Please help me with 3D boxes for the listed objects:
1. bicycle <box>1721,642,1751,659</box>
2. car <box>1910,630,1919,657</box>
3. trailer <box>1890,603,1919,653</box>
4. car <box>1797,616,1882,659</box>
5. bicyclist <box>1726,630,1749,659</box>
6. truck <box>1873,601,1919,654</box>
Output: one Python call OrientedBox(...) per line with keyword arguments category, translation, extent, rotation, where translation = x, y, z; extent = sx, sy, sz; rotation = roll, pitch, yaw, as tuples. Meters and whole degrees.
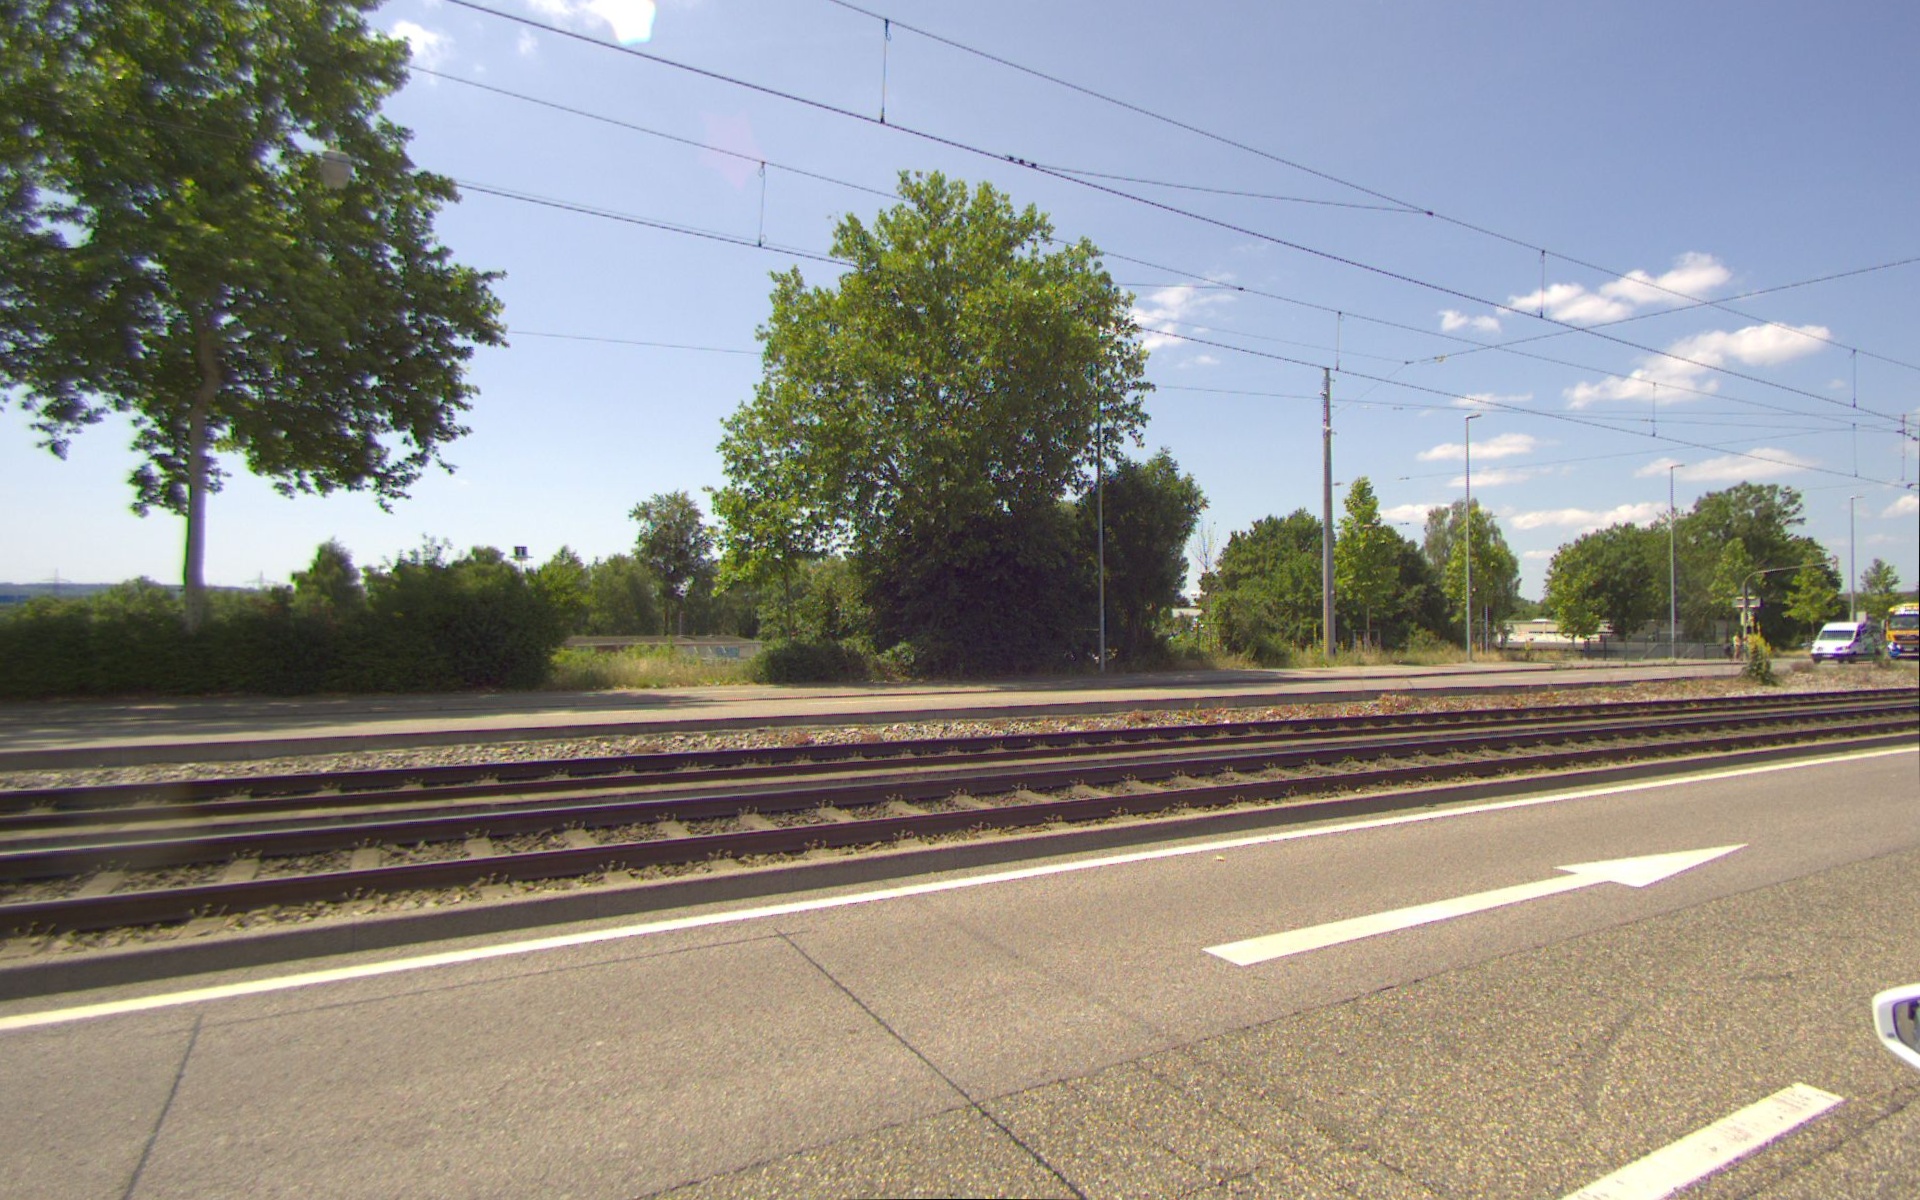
OrientedBox(category="bicycle", translation=(50.913, 3.318, 65.916), extent=(0.481, 1.000, 1.482), rotation=(1, 0, -33))
OrientedBox(category="car", translation=(61.768, 2.755, 63.105), extent=(4.408, 1.692, 1.813), rotation=(1, 0, -30))
OrientedBox(category="trailer", translation=(74.054, 2.140, 74.724), extent=(15.693, 3.565, 2.753), rotation=(1, 0, -31))
OrientedBox(category="car", translation=(55.870, 2.376, 63.753), extent=(6.163, 2.622, 2.232), rotation=(1, -3, -31))
OrientedBox(category="bicyclist", translation=(50.961, 2.909, 65.834), extent=(0.337, 1.798, 1.112), rotation=(1, 0, -34))
OrientedBox(category="truck", translation=(67.420, 1.953, 70.786), extent=(6.364, 3.616, 2.754), rotation=(1, 0, -30))
